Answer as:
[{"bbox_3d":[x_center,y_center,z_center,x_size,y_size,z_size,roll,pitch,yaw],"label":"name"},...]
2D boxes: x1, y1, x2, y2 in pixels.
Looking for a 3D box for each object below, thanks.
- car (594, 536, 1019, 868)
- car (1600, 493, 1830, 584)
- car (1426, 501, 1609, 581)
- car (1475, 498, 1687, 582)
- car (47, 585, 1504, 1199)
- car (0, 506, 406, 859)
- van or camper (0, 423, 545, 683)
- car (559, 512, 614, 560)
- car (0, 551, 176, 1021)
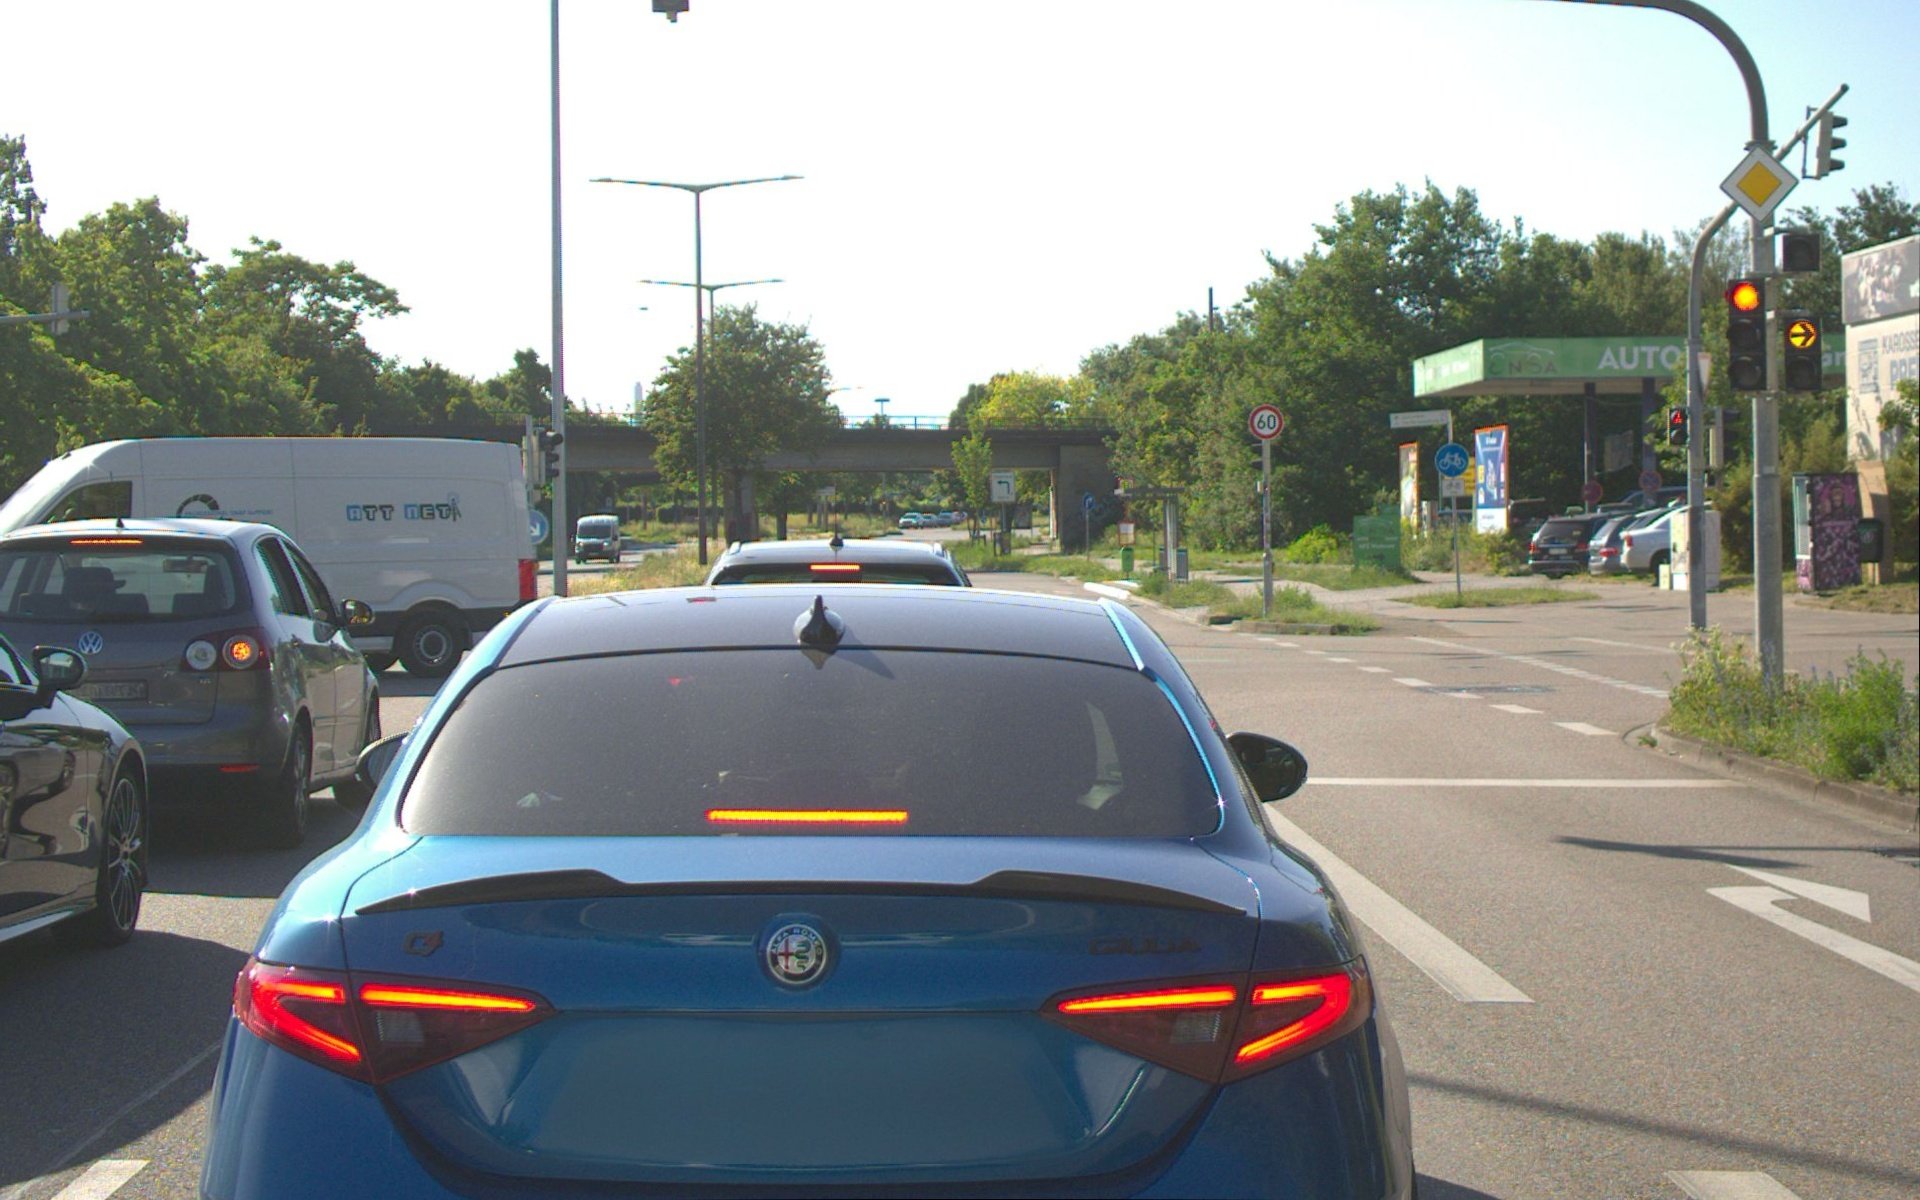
[{"bbox_3d":[-0.699,0.415,17.089,1.866,1.445,3.932,0,1,-1],"label":"car"},{"bbox_3d":[14.509,-1.185,66.118,3.986,1.700,1.696,-1,1,-16],"label":"car"},{"bbox_3d":[12.017,-1.276,74.164,3.483,1.700,1.696,-1,1,-16],"label":"car"},{"bbox_3d":[12.818,-1.239,70.974,3.986,1.700,1.696,-1,1,-19],"label":"car"},{"bbox_3d":[-0.260,0.700,6.381,1.866,1.380,3.932,0,1,-1],"label":"car"},{"bbox_3d":[-3.954,0.334,17.538,1.648,1.593,3.932,0,1,-1],"label":"car"},{"bbox_3d":[-7.903,-0.518,35.942,6.731,2.563,2.185,-1,1,-28],"label":"van or camper"},{"bbox_3d":[-19.571,-3.367,180.489,2.431,2.418,5.831,0,1,-2],"label":"car"},{"bbox_3d":[-3.805,0.574,10.650,1.768,1.409,4.461,0,1,-1],"label":"car"}]
